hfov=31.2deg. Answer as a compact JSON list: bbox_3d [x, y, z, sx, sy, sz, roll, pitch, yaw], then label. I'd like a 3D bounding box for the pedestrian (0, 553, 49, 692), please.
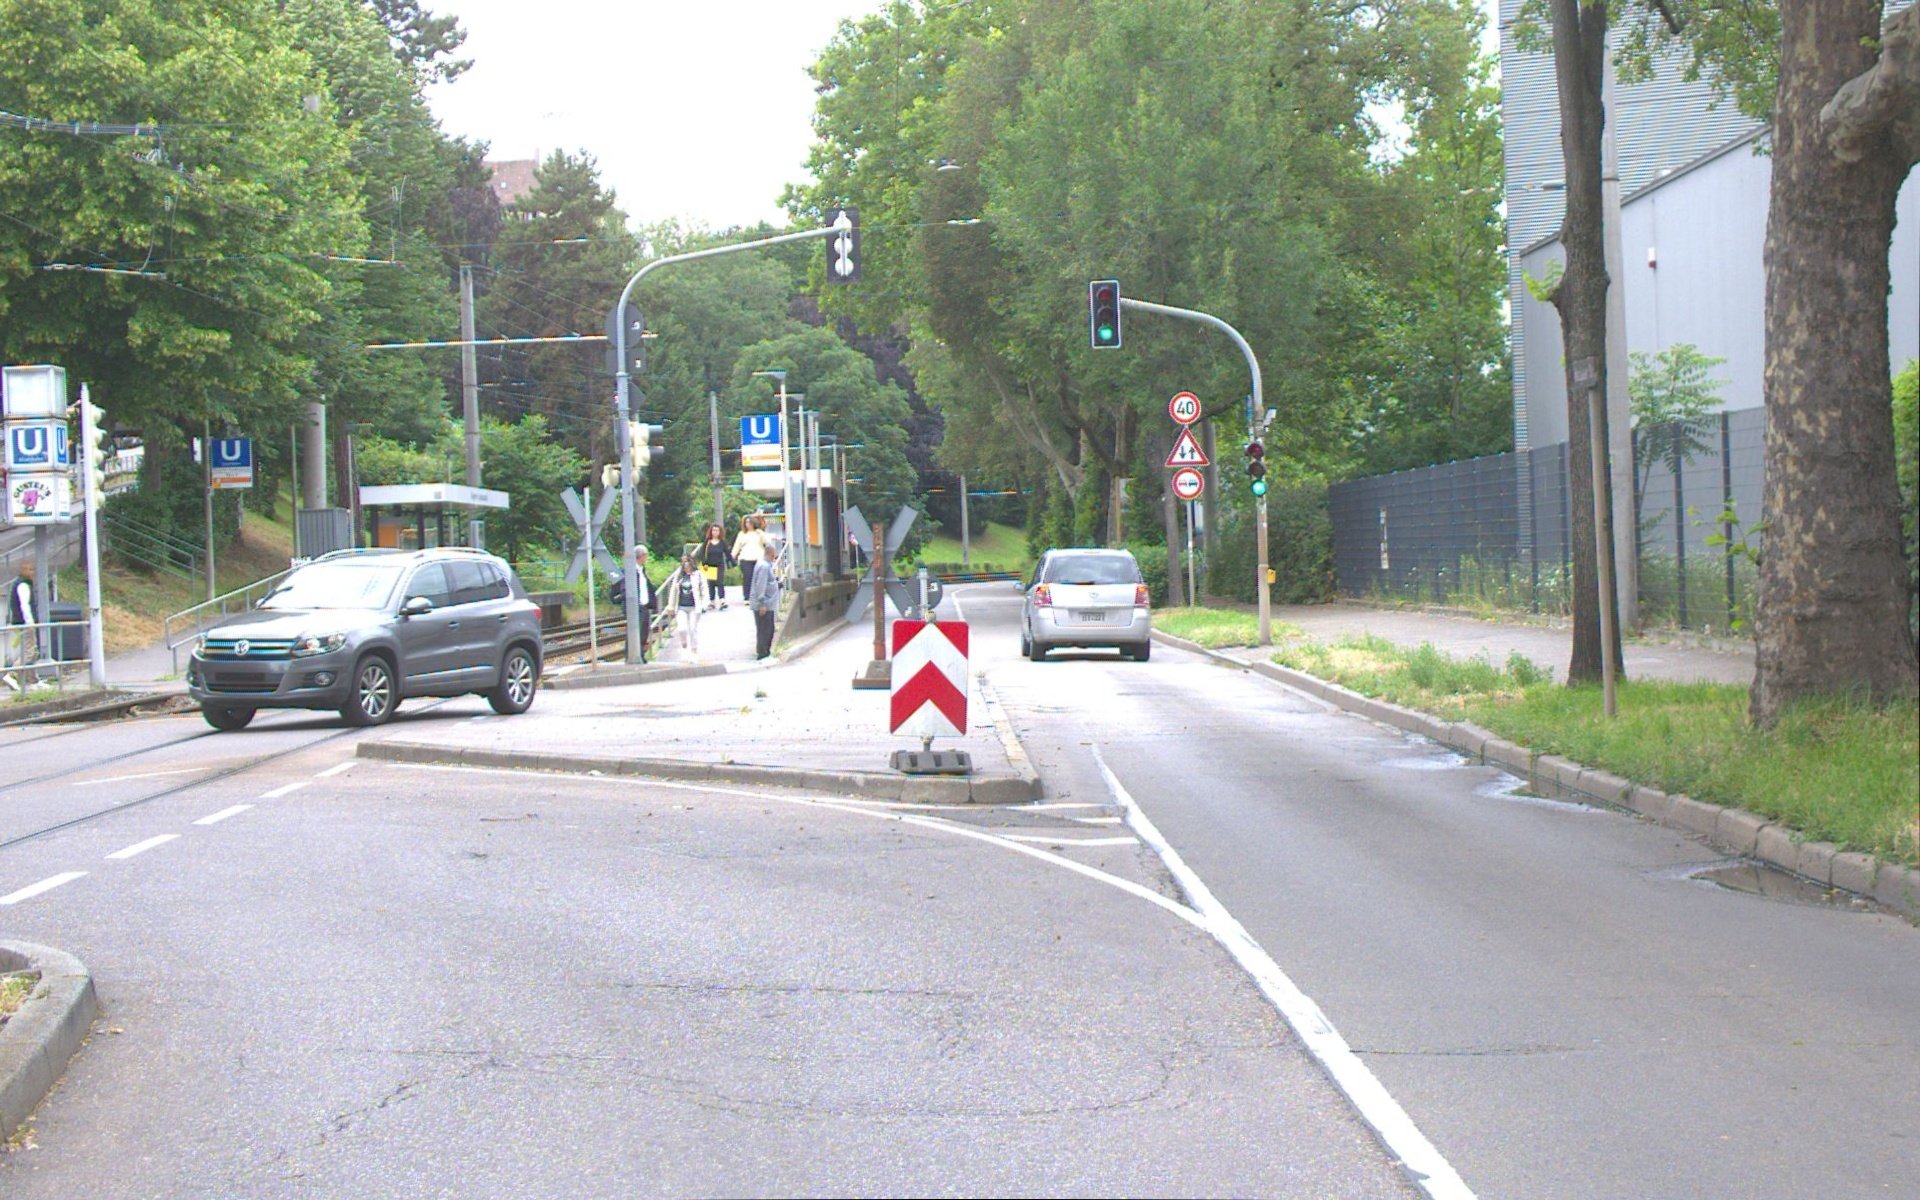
[{"bbox_3d":[-12.508,0.285,45.262,0.668,1.815,0.805,1,0,12],"label":"pedestrian"}]

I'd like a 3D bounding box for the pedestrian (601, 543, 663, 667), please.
[{"bbox_3d":[-4.431,0.061,46.478,0.735,1.659,0.682,1,0,1],"label":"pedestrian"}]

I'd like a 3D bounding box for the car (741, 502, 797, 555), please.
[{"bbox_3d":[-7.450,-2.785,134.546,1.993,2.007,4.000,1,1,-1],"label":"car"}]

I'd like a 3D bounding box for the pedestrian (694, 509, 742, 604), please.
[{"bbox_3d":[-4.261,-0.769,60.493,0.735,1.659,0.682,1,0,-11],"label":"pedestrian"}]

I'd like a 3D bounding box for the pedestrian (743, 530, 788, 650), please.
[{"bbox_3d":[-2.869,-0.156,50.792,0.550,1.752,0.737,1,0,4],"label":"pedestrian"}]

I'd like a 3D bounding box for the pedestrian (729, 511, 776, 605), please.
[{"bbox_3d":[-3.713,-0.755,61.373,0.735,1.659,0.682,1,0,-11],"label":"pedestrian"}]

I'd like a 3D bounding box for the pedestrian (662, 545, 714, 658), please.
[{"bbox_3d":[-4.034,0.022,50.991,0.735,1.659,0.682,1,0,-4],"label":"pedestrian"}]

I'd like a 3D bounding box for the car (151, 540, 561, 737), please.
[{"bbox_3d":[-5.749,0.332,33.242,1.902,1.712,4.131,-3,0,23],"label":"car"}]

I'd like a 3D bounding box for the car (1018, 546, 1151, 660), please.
[{"bbox_3d":[1.785,0.022,50.495,1.743,1.593,4.000,1,1,-1],"label":"car"}]
